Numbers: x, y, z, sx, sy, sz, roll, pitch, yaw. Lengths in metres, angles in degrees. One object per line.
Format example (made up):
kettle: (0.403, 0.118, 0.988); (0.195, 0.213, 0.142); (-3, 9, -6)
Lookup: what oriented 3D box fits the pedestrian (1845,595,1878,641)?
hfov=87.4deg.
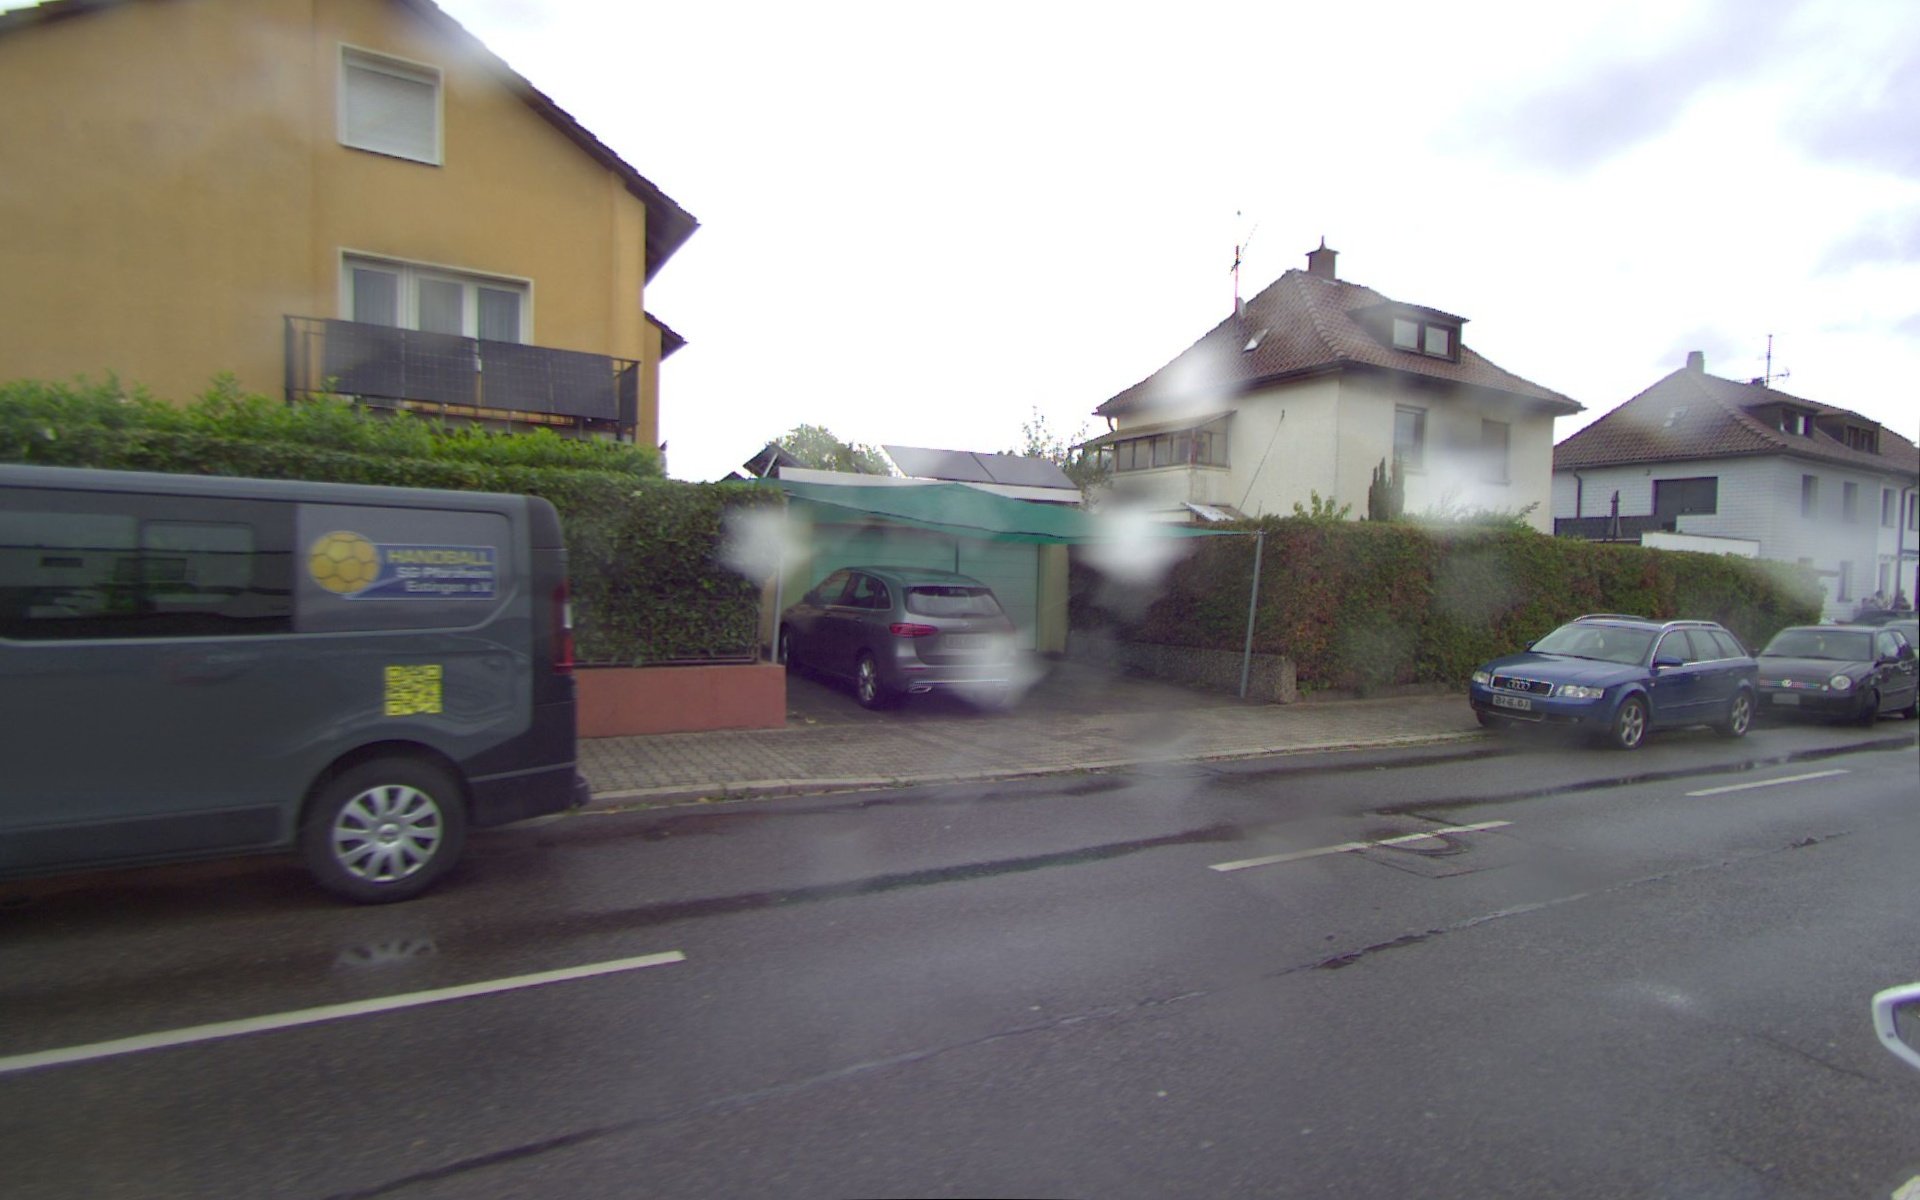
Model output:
pedestrian: (33.611, 0.664, 37.472); (0.641, 1.688, 0.598); (1, 4, -25)

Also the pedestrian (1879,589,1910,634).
pedestrian: (36.447, 0.456, 39.181); (0.641, 1.688, 0.598); (1, 4, -25)

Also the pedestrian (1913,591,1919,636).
pedestrian: (36.781, 0.540, 38.113); (0.640, 1.688, 0.599); (1, 4, -22)

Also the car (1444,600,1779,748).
car: (8.229, 0.838, 12.618); (4.235, 1.553, 1.749); (1, 1, -30)

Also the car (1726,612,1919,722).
car: (13.517, 0.958, 15.431); (3.972, 1.450, 1.541); (1, 1, -34)

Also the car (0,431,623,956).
car: (-4.357, 0.342, 4.583); (5.032, 2.029, 1.902); (1, 1, -33)

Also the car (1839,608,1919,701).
car: (17.933, 0.974, 18.368); (4.164, 1.553, 1.746); (1, 1, -34)

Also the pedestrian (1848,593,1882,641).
pedestrian: (33.014, 0.619, 36.652); (0.641, 1.688, 0.598); (1, 4, -25)

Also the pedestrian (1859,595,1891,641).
pedestrian: (34.807, 0.691, 38.204); (0.641, 1.688, 0.598); (1, 4, -25)

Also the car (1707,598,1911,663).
car: (23.784, 0.806, 28.298); (1.834, 1.536, 3.968); (1, 2, -29)

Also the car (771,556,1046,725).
car: (-0.825, 0.372, 12.679); (1.895, 1.635, 3.942); (1, 4, -29)

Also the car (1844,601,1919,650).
car: (32.284, 0.903, 33.322); (1.833, 1.536, 4.053); (1, 2, -29)

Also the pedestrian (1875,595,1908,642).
pedestrian: (34.421, 0.696, 37.119); (0.641, 1.688, 0.598); (1, 4, -25)
